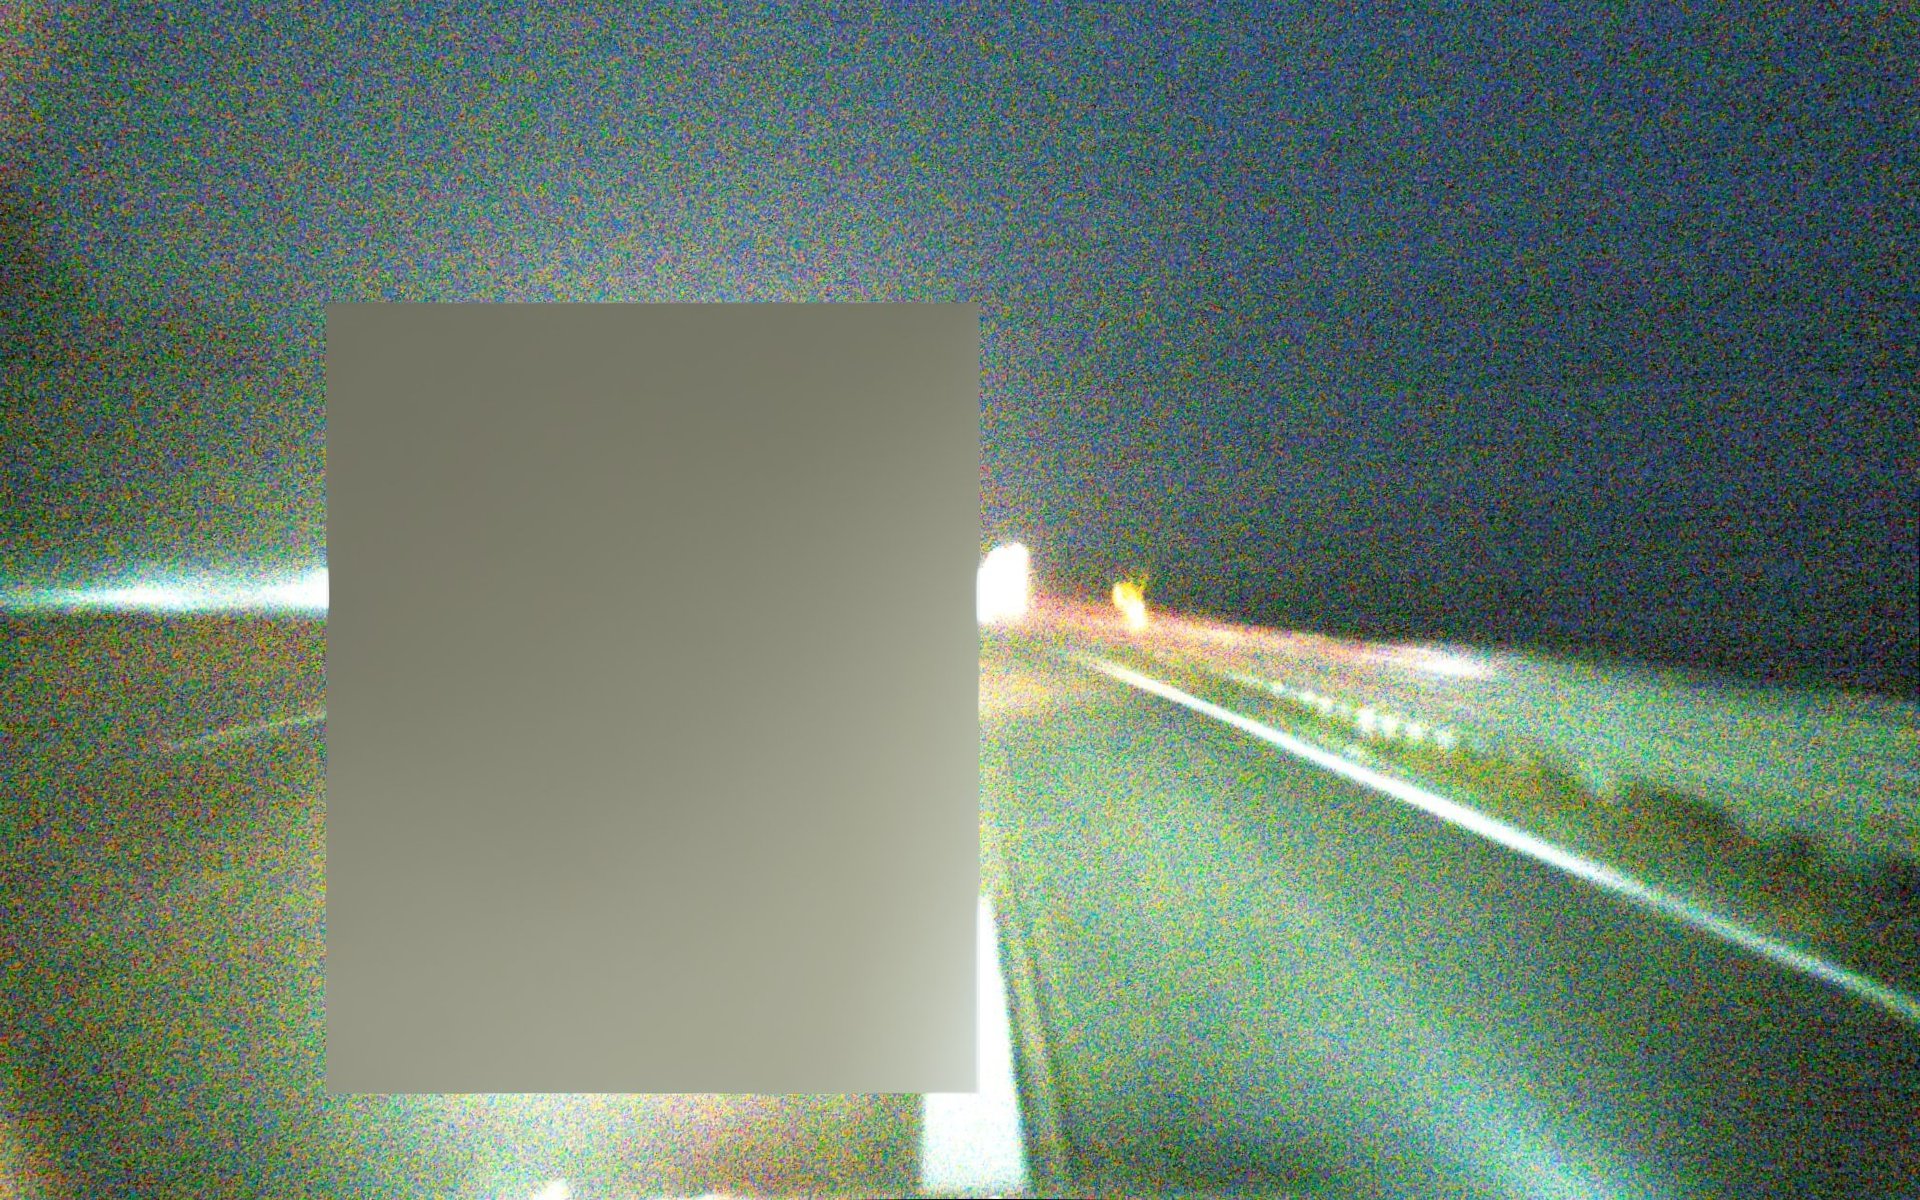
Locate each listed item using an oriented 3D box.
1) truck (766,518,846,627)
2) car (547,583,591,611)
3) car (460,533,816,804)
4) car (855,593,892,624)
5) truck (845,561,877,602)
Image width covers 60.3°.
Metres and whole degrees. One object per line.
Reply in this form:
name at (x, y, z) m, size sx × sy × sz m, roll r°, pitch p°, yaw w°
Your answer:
truck at (-8.622, -1.462, 93.526) m, size 4.086 × 5.641 × 13.062 m, roll 1°, pitch 0°, yaw -5°
car at (-25.083, -0.188, 106.207) m, size 1.954 × 1.671 × 4.251 m, roll 1°, pitch 0°, yaw -3°
car at (-2.436, 0.436, 13.939) m, size 1.913 × 1.823 × 5.125 m, roll 1°, pitch 1°, yaw 1°
car at (-4.941, 0.470, 94.431) m, size 1.955 × 1.736 × 4.191 m, roll 1°, pitch 0°, yaw -5°
truck at (-12.923, -2.334, 214.522) m, size 3.749 × 5.001 × 11.595 m, roll 2°, pitch 0°, yaw -5°
